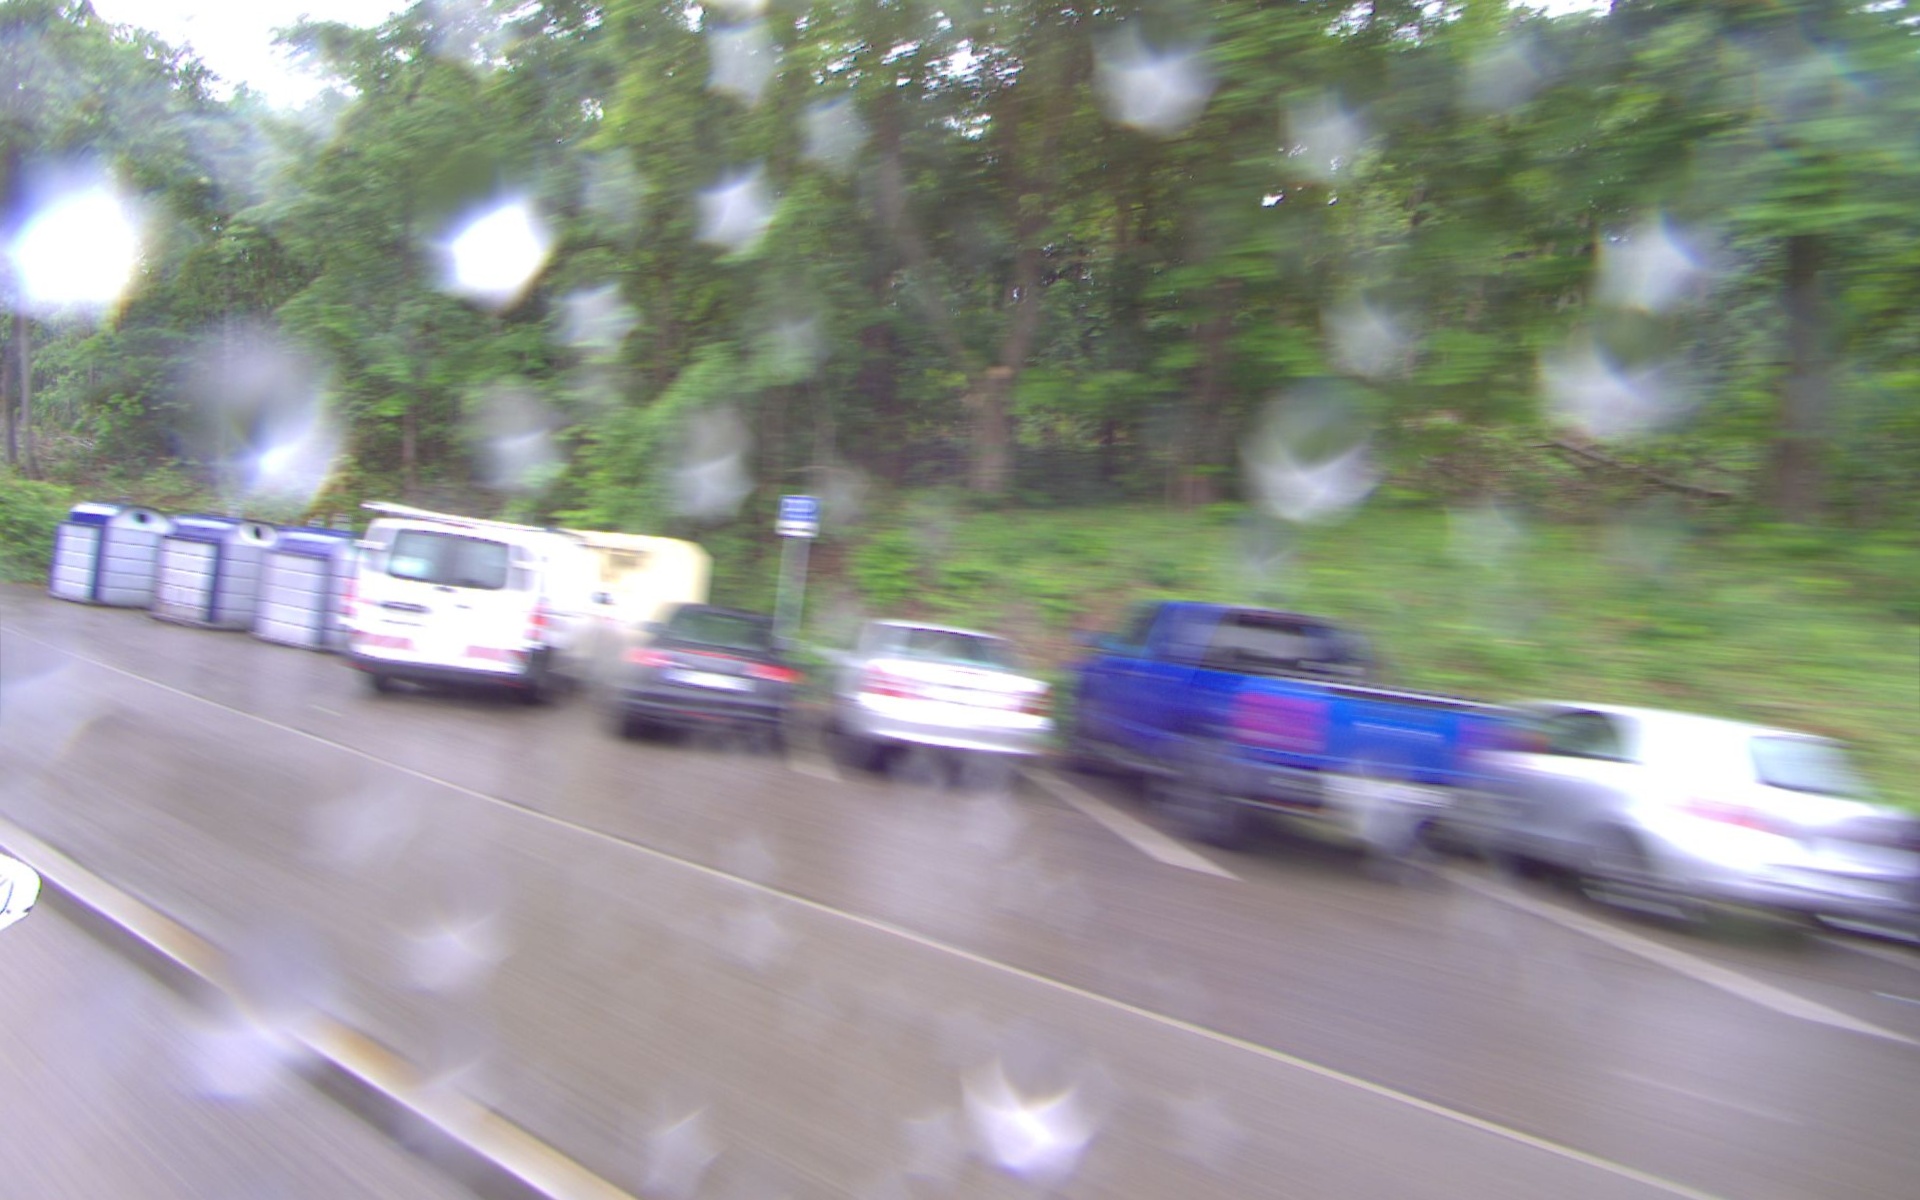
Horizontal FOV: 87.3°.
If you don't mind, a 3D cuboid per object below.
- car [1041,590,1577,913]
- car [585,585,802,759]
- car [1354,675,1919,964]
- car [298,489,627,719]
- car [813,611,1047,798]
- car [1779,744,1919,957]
[{"bbox_3d":[2.699,1.099,9.682,2.293,1.992,5.473,8,-1,-10],"label":"car"},{"bbox_3d":[-2.744,0.679,10.910,1.733,1.364,3.790,8,-2,-11],"label":"car"},{"bbox_3d":[5.285,1.614,8.539,1.593,1.504,3.906,8,-2,-12],"label":"car"},{"bbox_3d":[-5.611,0.088,12.197,2.121,1.963,4.835,8,-2,-11],"label":"car"},{"bbox_3d":[-0.524,0.945,10.706,1.601,1.429,3.986,8,-2,-13],"label":"car"},{"bbox_3d":[8.034,1.992,6.593,1.689,1.418,3.837,8,-2,-11],"label":"car"}]
